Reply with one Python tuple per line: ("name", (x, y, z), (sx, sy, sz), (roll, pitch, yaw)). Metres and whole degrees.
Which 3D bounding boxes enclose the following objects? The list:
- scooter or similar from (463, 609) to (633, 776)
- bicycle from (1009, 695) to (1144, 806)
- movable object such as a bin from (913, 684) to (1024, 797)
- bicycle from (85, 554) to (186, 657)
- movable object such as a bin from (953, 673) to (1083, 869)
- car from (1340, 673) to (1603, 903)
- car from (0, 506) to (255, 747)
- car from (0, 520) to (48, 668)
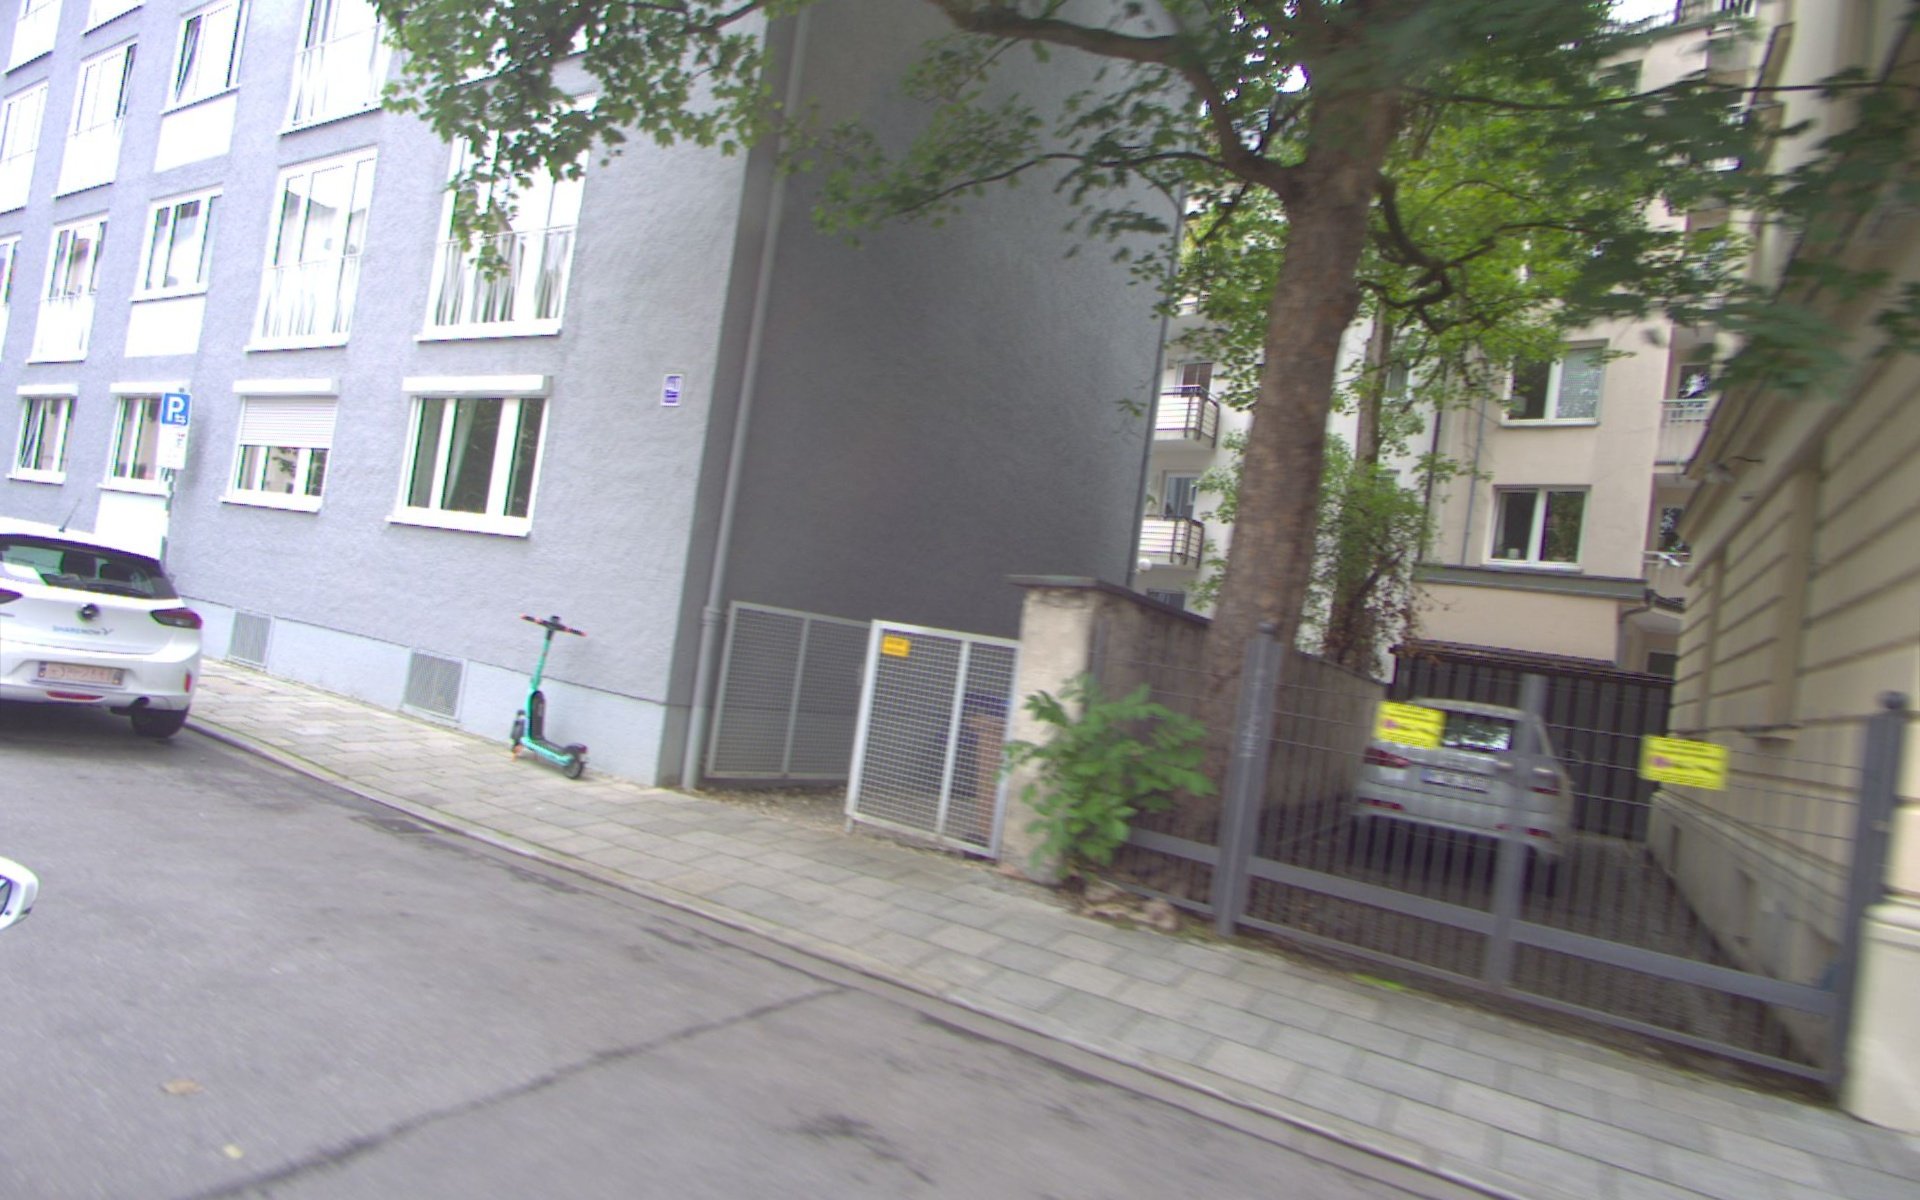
("scooter or similar", (-3.469, 0.753, 8.435), (1.353, 1.188, 0.506), (6, -1, 33))
("bicycle", (1.468, 1.889, 12.778), (1.542, 1.122, 0.441), (7, -2, 32))
("movable object such as a bin", (0.110, 1.603, 11.505), (0.733, 1.131, 0.978), (7, -4, 30))
("bicycle", (-10.665, 0.057, 13.000), (1.658, 1.122, 0.378), (7, -1, 32))
("movable object such as a bin", (0.460, 1.320, 7.864), (0.622, 1.373, 0.592), (7, -4, 30))
("car", (5.164, 1.768, 10.158), (1.817, 1.591, 3.814), (7, -3, 29))
("car", (-7.733, 0.017, 8.019), (4.273, 1.459, 1.776), (7, -6, 32))
("car", (-11.599, -0.395, 10.504), (4.411, 1.414, 1.797), (7, -6, 33))
